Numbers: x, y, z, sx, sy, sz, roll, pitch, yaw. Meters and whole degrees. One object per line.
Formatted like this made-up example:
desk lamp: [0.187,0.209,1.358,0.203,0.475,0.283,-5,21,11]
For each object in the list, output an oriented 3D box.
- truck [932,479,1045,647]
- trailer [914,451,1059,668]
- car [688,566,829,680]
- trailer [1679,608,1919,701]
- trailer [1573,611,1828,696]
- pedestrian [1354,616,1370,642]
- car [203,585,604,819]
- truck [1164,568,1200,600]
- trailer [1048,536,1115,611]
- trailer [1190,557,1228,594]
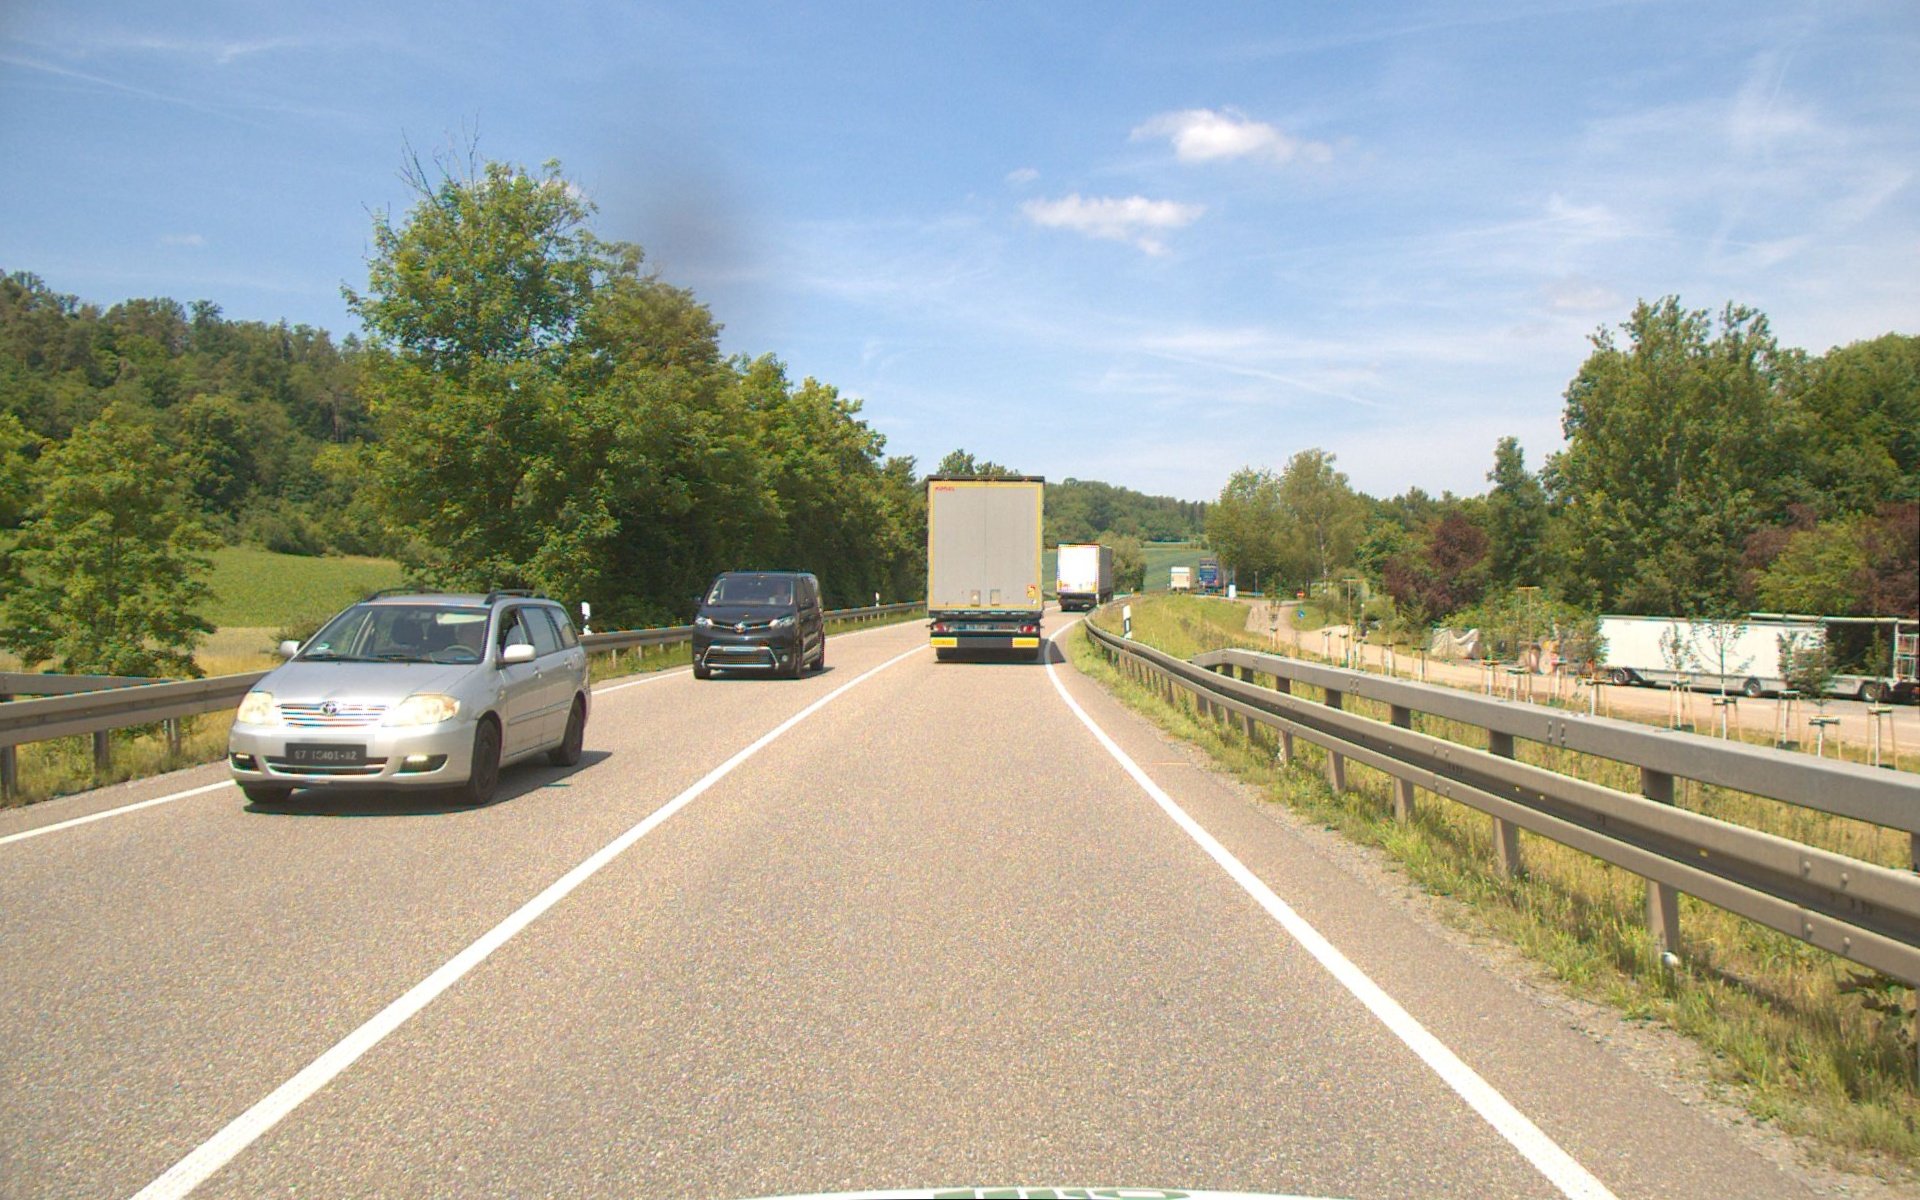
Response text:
truck: [0.889,-1.039,48.727,3.053,4.573,6.813,0,0,2]
trailer: [0.716,-0.933,42.094,3.054,4.578,13.889,0,1,1]
car: [-3.590,0.382,30.354,1.882,1.892,5.176,0,0,1]
trailer: [38.261,2.317,74.769,2.683,3.669,11.803,1,0,-24]
trailer: [34.009,2.338,76.740,2.686,3.386,11.793,0,1,-26]
pedestrian: [29.660,2.153,121.927,0.866,1.842,0.959,-2,0,0]
car: [-4.084,0.667,12.891,1.732,1.520,4.169,0,0,-1]
truck: [25.125,-1.740,187.017,3.154,3.424,11.884,0,0,12]
trailer: [7.885,-1.542,105.214,3.293,4.392,13.875,0,0,8]
trailer: [31.493,-3.045,208.582,3.570,4.337,12.204,0,0,14]
